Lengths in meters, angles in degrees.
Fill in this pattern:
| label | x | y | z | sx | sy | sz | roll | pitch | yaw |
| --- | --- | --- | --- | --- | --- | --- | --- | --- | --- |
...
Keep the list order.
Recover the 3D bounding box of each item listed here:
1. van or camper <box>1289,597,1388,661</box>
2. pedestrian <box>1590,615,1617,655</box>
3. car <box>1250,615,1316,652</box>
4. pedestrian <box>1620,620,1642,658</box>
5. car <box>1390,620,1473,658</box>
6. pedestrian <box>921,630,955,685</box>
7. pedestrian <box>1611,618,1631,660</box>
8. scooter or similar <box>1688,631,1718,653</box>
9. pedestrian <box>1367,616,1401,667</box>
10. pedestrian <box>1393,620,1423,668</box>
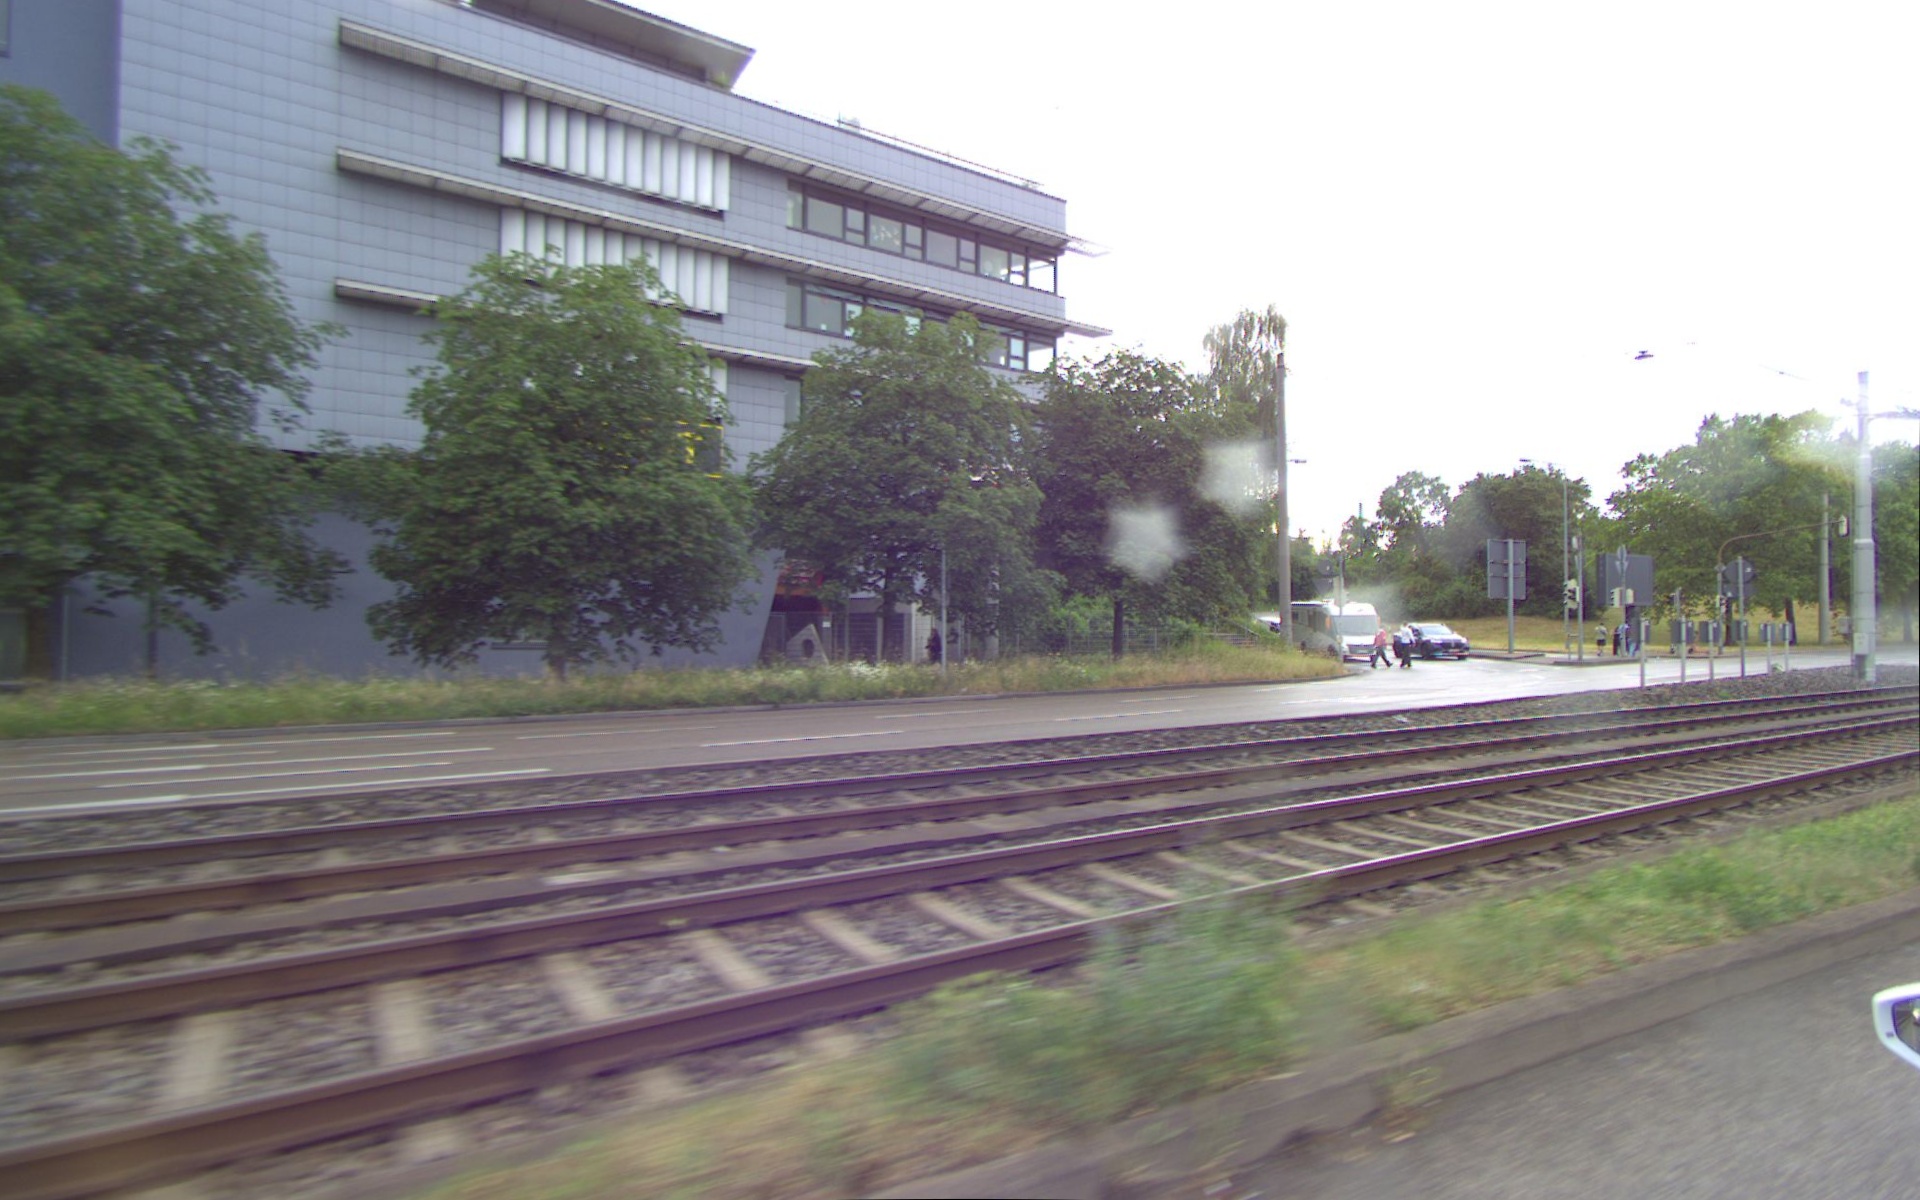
| label | x | y | z | sx | sy | sz | roll | pitch | yaw |
| --- | --- | --- | --- | --- | --- | --- | --- | --- | --- |
| van or camper | 18.851 | 1.390 | 50.570 | 2.441 | 3.006 | 7.377 | 0 | -1 | 2 |
| pedestrian | 32.721 | 1.768 | 51.079 | 0.858 | 2.040 | 0.880 | 1 | -1 | -37 |
| car | 18.784 | 1.901 | 58.599 | 1.963 | 2.040 | 4.521 | 0 | -1 | -6 |
| pedestrian | 32.264 | 1.863 | 48.310 | 0.821 | 1.811 | 0.504 | 1 | 1 | -28 |
| car | 23.081 | 1.884 | 49.361 | 1.960 | 1.755 | 4.632 | 0 | -1 | 1 |
| pedestrian | -0.737 | 1.910 | 33.660 | 0.867 | 1.779 | 0.721 | 1 | 1 | -30 |
| pedestrian | 32.115 | 1.891 | 48.792 | 0.713 | 1.982 | 0.493 | 1 | 1 | -28 |
| scooter or similar | 40.194 | 2.275 | 54.358 | 1.254 | 1.177 | 0.380 | -1 | -1 | 13 |
| pedestrian | 17.396 | 1.700 | 41.206 | 0.932 | 2.040 | 0.884 | 1 | -1 | -24 |
| pedestrian | 17.983 | 1.757 | 40.343 | 0.940 | 1.892 | 0.632 | 0 | -1 | -24 |
